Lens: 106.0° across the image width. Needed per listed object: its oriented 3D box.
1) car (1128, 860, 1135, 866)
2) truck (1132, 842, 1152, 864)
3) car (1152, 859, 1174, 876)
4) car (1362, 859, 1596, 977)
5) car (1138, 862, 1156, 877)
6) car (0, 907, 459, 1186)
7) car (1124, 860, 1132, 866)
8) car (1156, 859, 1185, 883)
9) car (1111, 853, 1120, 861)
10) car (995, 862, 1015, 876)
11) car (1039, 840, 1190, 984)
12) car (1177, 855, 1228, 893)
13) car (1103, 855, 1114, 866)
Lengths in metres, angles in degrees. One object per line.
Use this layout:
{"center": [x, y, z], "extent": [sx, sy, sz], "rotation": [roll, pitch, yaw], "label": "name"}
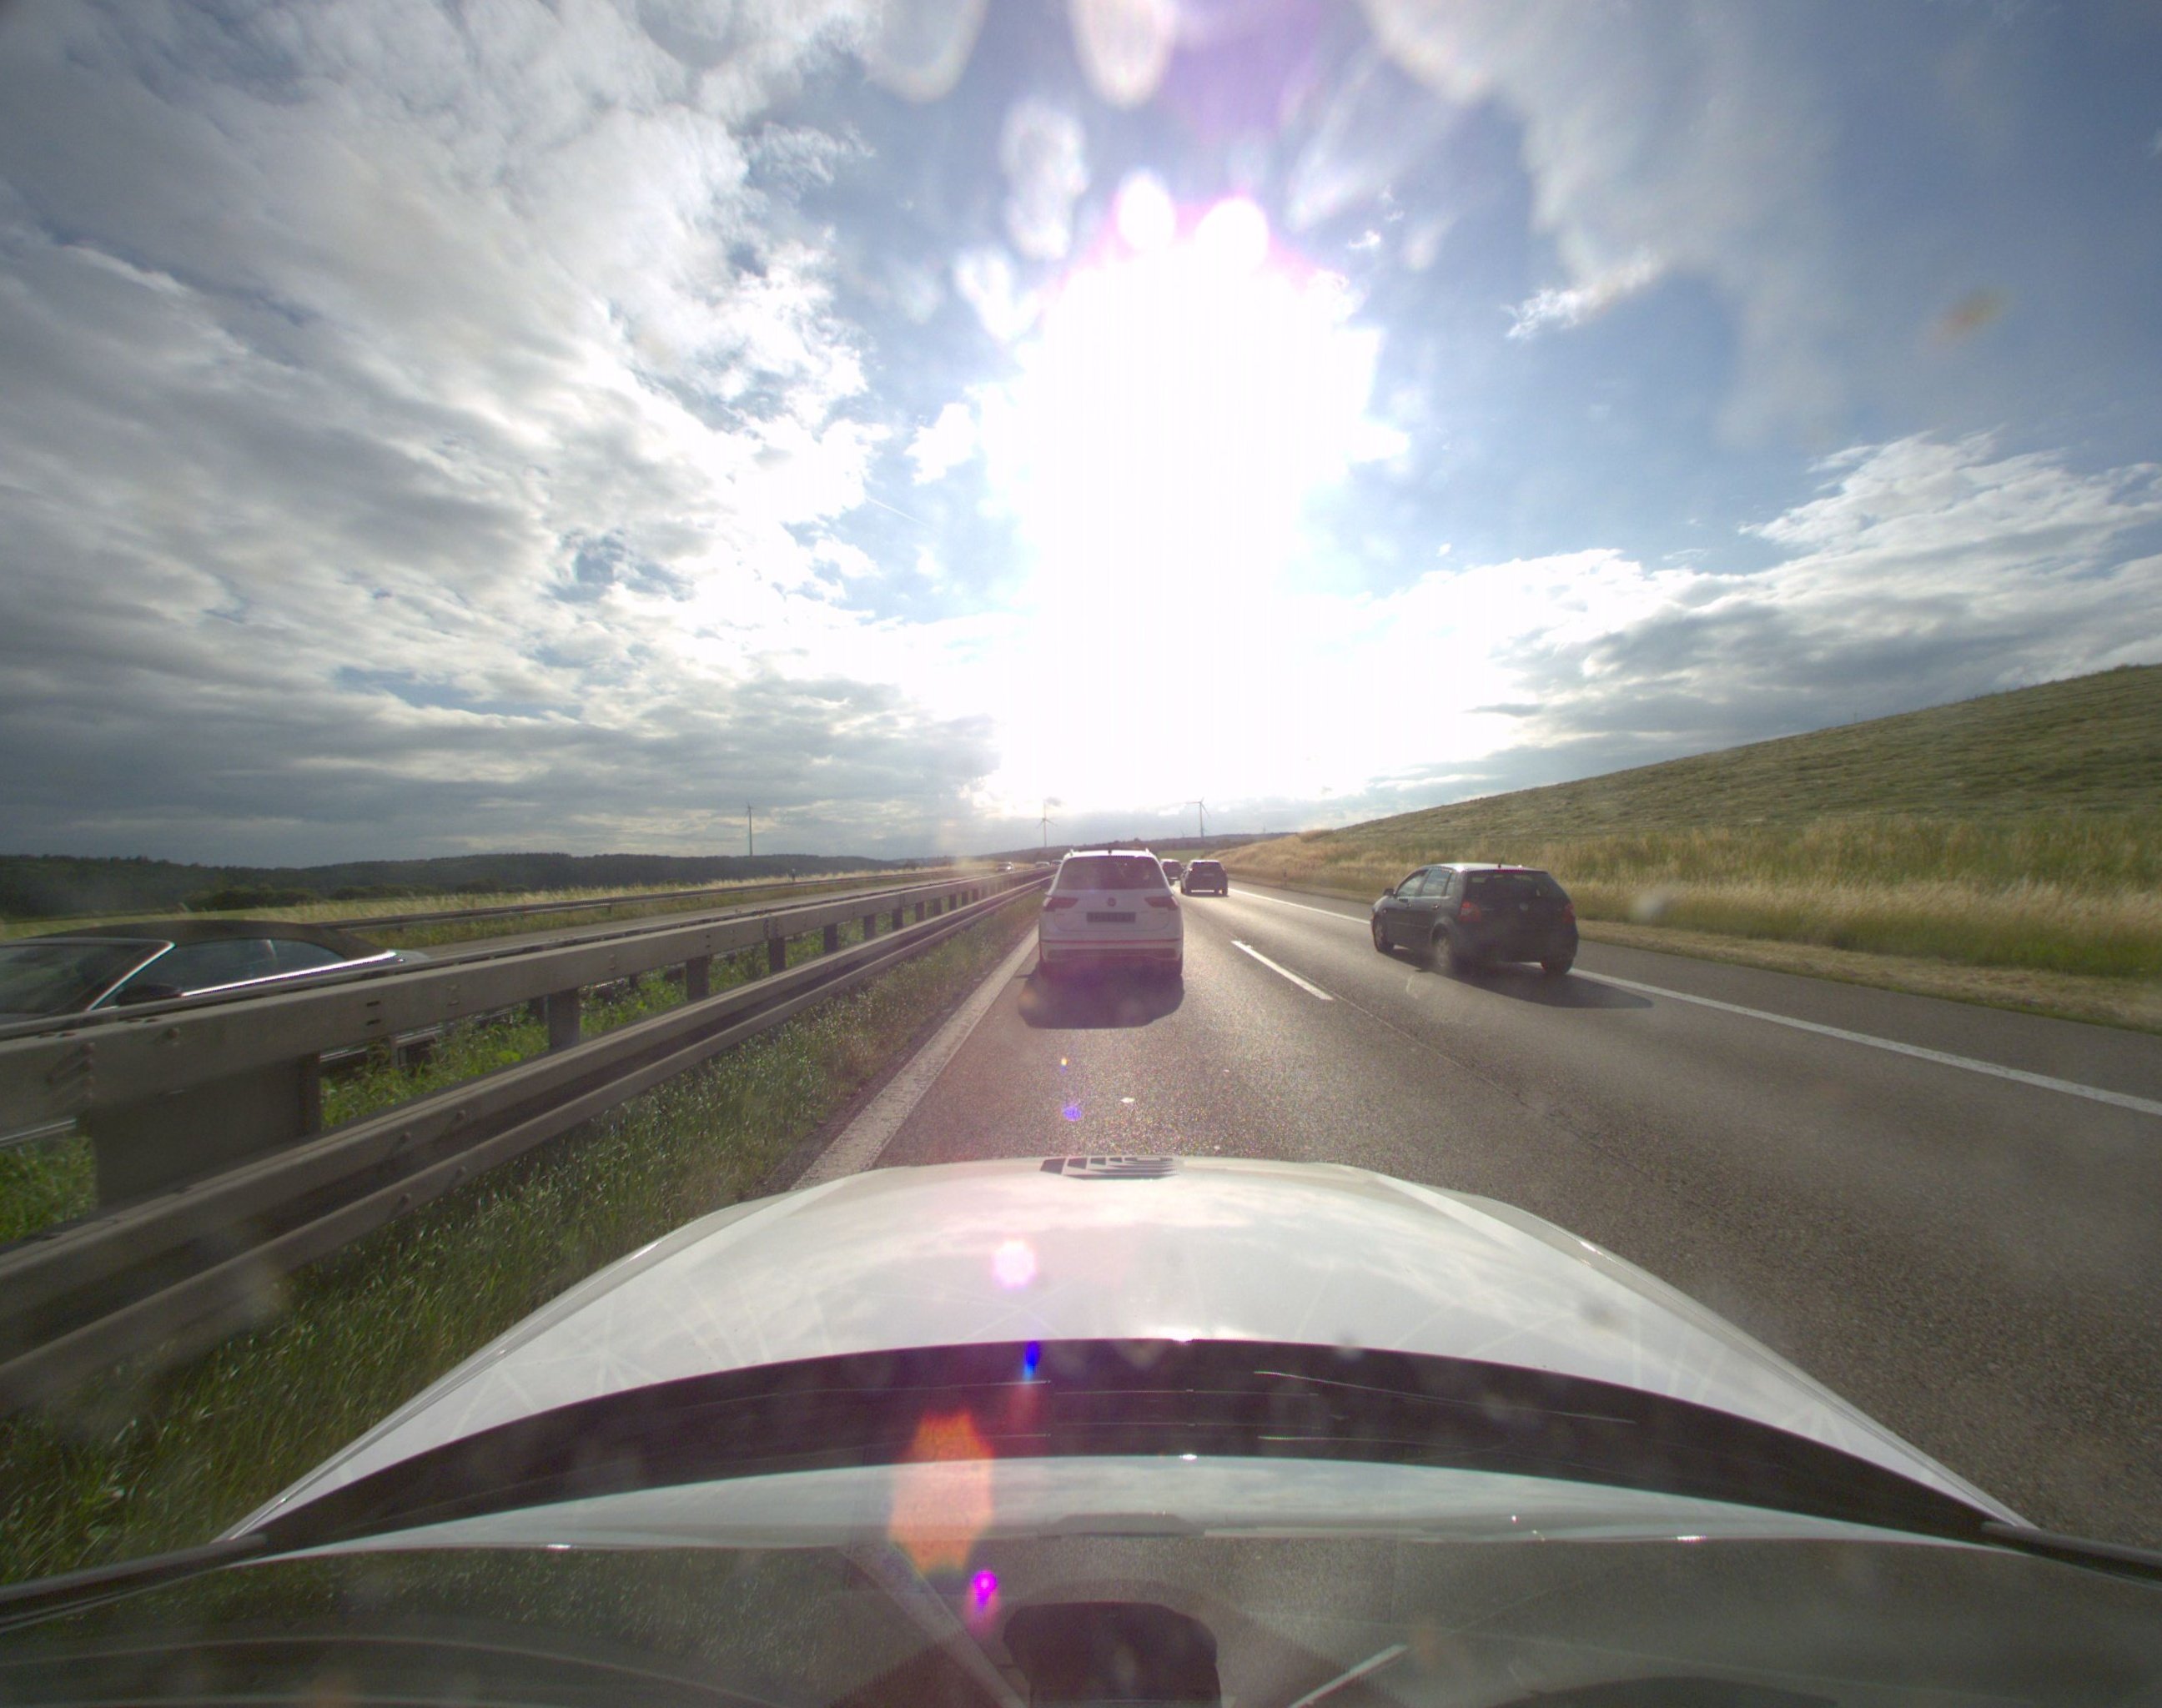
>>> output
{"center": [13.070, 2.372, 211.591], "extent": [1.698, 1.546, 4.001], "rotation": [-1, -1, 1], "label": "car"}
{"center": [10.119, -0.187, 136.299], "extent": [3.170, 3.594, 11.140], "rotation": [-1, 0, 3], "label": "truck"}
{"center": [7.665, 1.289, 76.424], "extent": [1.698, 1.546, 4.001], "rotation": [-1, -1, 1], "label": "car"}
{"center": [5.493, 0.802, 11.779], "extent": [1.600, 1.420, 3.672], "rotation": [-1, -1, 0], "label": "car"}
{"center": [6.998, 1.672, 87.157], "extent": [1.698, 1.546, 4.001], "rotation": [-1, -1, 1], "label": "car"}
{"center": [-6.889, 1.199, 5.922], "extent": [1.610, 1.392, 4.000], "rotation": [-1, -1, 0], "label": "car"}
{"center": [11.067, 2.124, 190.201], "extent": [1.698, 1.546, 4.001], "rotation": [-1, -1, 1], "label": "car"}
{"center": [6.366, 1.181, 58.317], "extent": [1.698, 1.650, 4.001], "rotation": [-1, -1, 1], "label": "car"}
{"center": [6.630, 0.610, 157.072], "extent": [1.698, 1.546, 4.001], "rotation": [-1, -1, 1], "label": "car"}
{"center": [-8.149, 1.569, 87.805], "extent": [1.744, 1.479, 4.480], "rotation": [-1, -1, 0], "label": "car"}
{"center": [0.450, 0.707, 11.609], "extent": [1.763, 1.676, 4.001], "rotation": [-1, -1, 1], "label": "car"}
{"center": [5.216, 0.843, 35.298], "extent": [1.698, 1.546, 4.001], "rotation": [-1, -1, 1], "label": "car"}
{"center": [4.275, 0.981, 127.207], "extent": [1.698, 1.650, 4.001], "rotation": [-1, -1, 1], "label": "car"}
